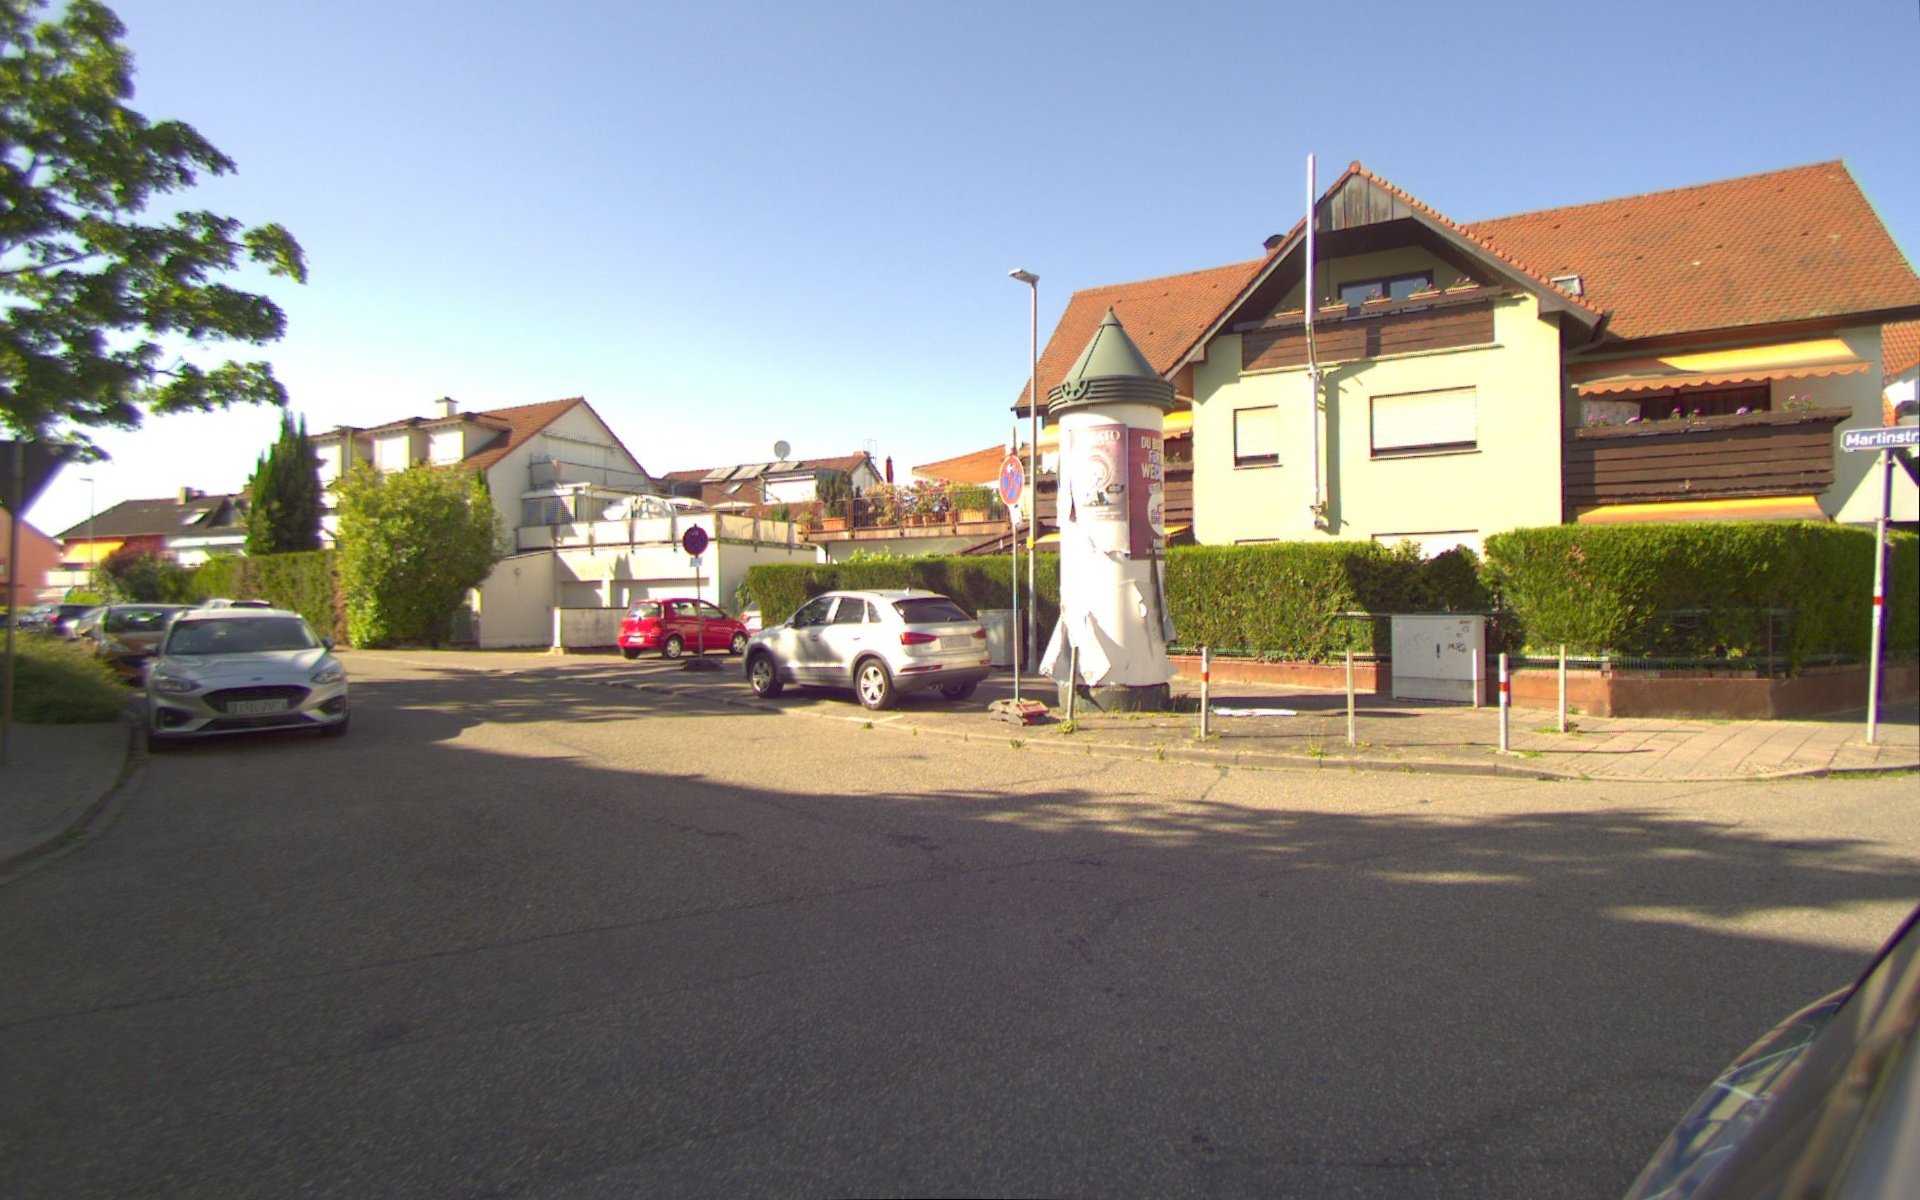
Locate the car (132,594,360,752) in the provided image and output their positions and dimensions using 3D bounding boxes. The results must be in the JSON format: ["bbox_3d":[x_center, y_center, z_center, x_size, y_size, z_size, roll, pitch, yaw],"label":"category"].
[{"bbox_3d":[-8.539,0.693,11.943,1.783,1.513,4.297,0,0,-41],"label":"car"}]

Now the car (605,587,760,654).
[{"bbox_3d":[-6.989,0.465,25.795,1.685,1.518,3.683,0,1,31],"label":"car"}]

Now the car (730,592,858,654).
[{"bbox_3d":[-4.740,0.609,29.315,1.685,1.589,3.683,0,1,31],"label":"car"}]

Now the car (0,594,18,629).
[{"bbox_3d":[-43.174,0.510,44.575,3.697,1.518,1.678,0,1,34],"label":"car"}]

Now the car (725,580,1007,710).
[{"bbox_3d":[-1.501,0.530,14.847,4.291,1.612,1.786,1,2,45],"label":"car"}]

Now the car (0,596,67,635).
[{"bbox_3d":[-38.846,0.622,42.087,3.697,1.518,1.678,0,1,34],"label":"car"}]

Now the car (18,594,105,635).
[{"bbox_3d":[-35.473,0.541,39.924,3.697,1.518,1.678,0,1,34],"label":"car"}]

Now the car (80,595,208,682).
[{"bbox_3d":[-16.034,0.655,19.821,1.783,1.513,4.297,0,0,-41],"label":"car"}]

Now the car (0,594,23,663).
[{"bbox_3d":[-21.833,0.599,20.589,3.928,1.427,1.798,0,0,-39],"label":"car"}]

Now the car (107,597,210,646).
[{"bbox_3d":[-27.228,0.688,34.354,3.697,1.518,1.678,0,1,34],"label":"car"}]

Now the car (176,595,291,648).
[{"bbox_3d":[-22.367,0.616,31.129,3.697,1.518,1.678,0,1,34],"label":"car"}]
